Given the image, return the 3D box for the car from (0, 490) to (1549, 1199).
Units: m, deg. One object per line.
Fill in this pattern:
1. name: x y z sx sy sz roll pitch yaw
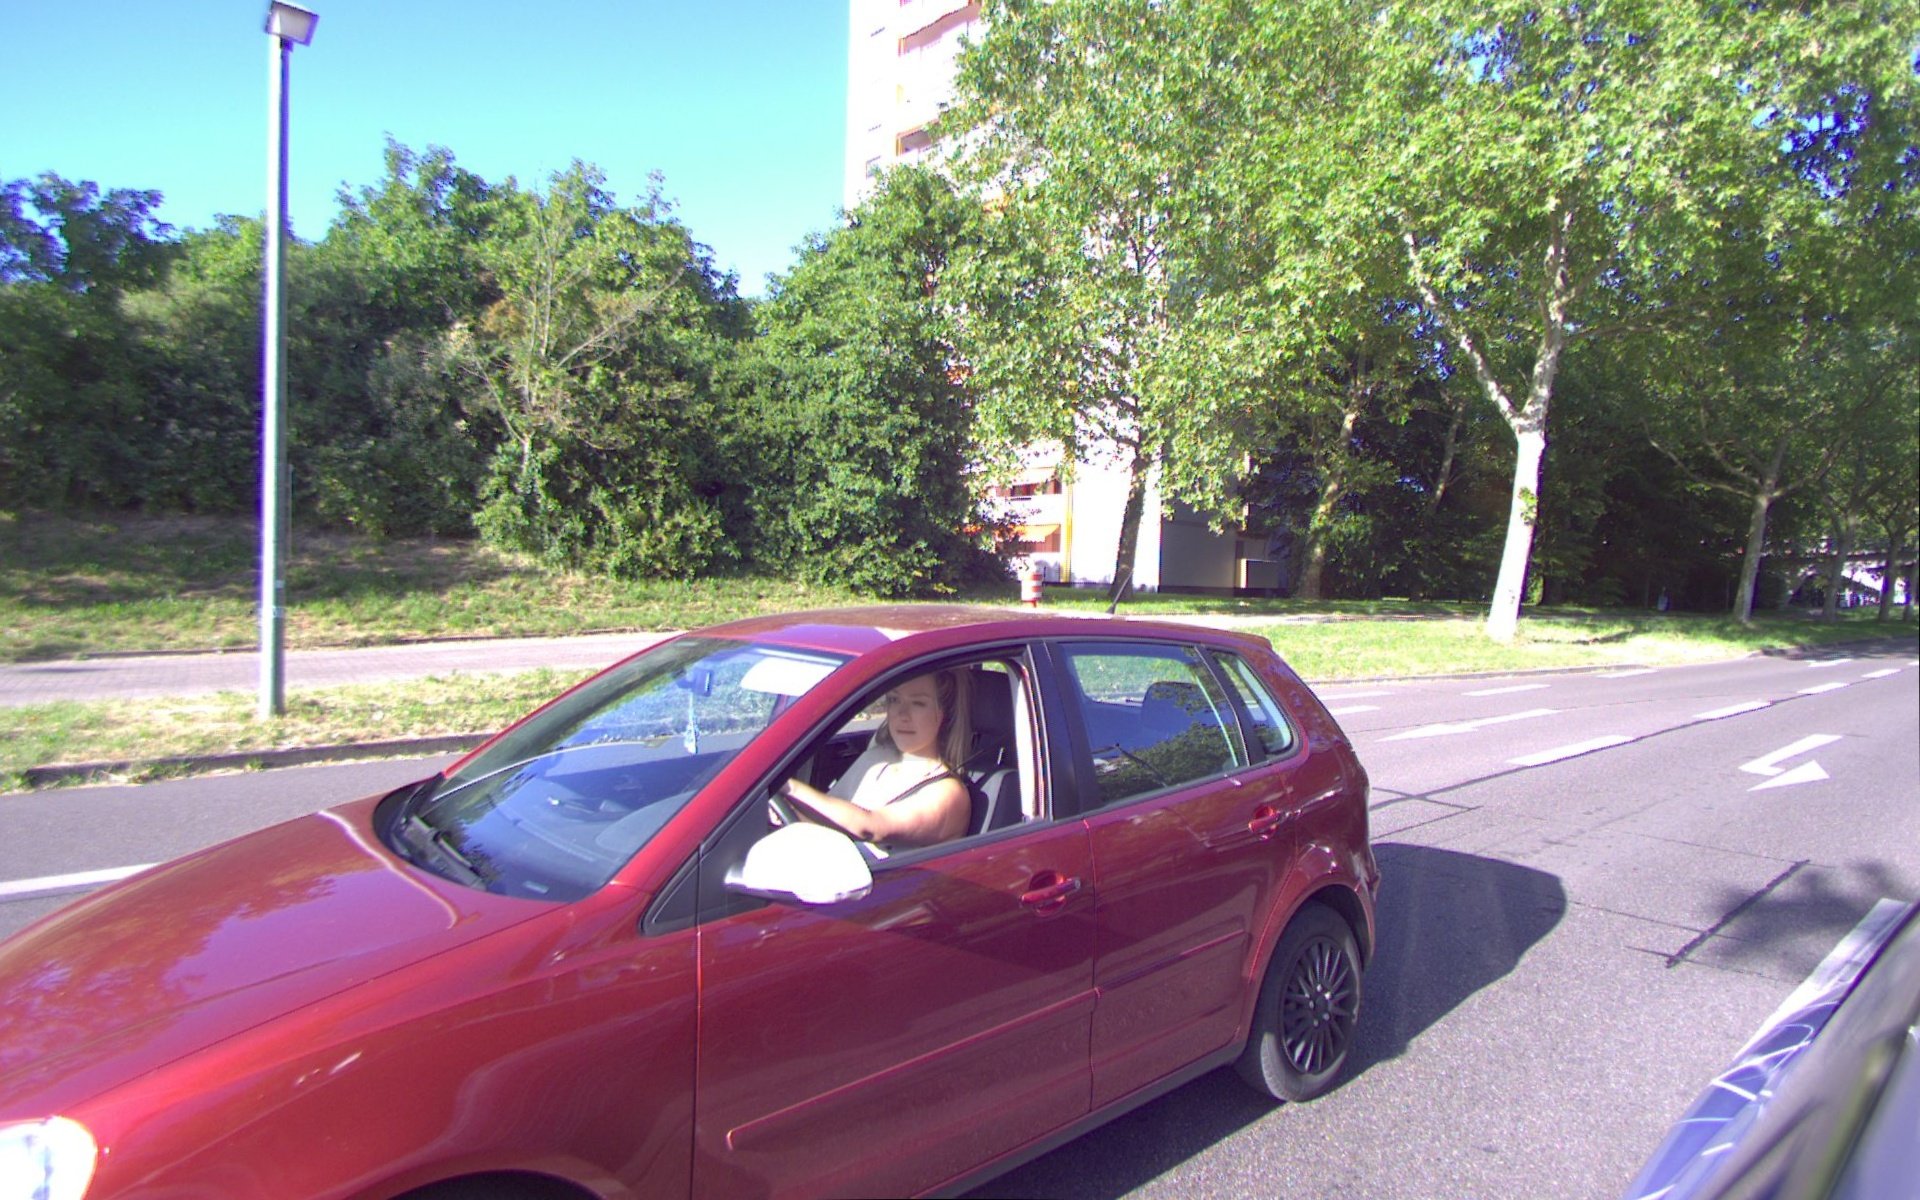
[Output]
1. car: -0.098 0.654 3.089 4.641 1.578 1.771 0 1 -40
